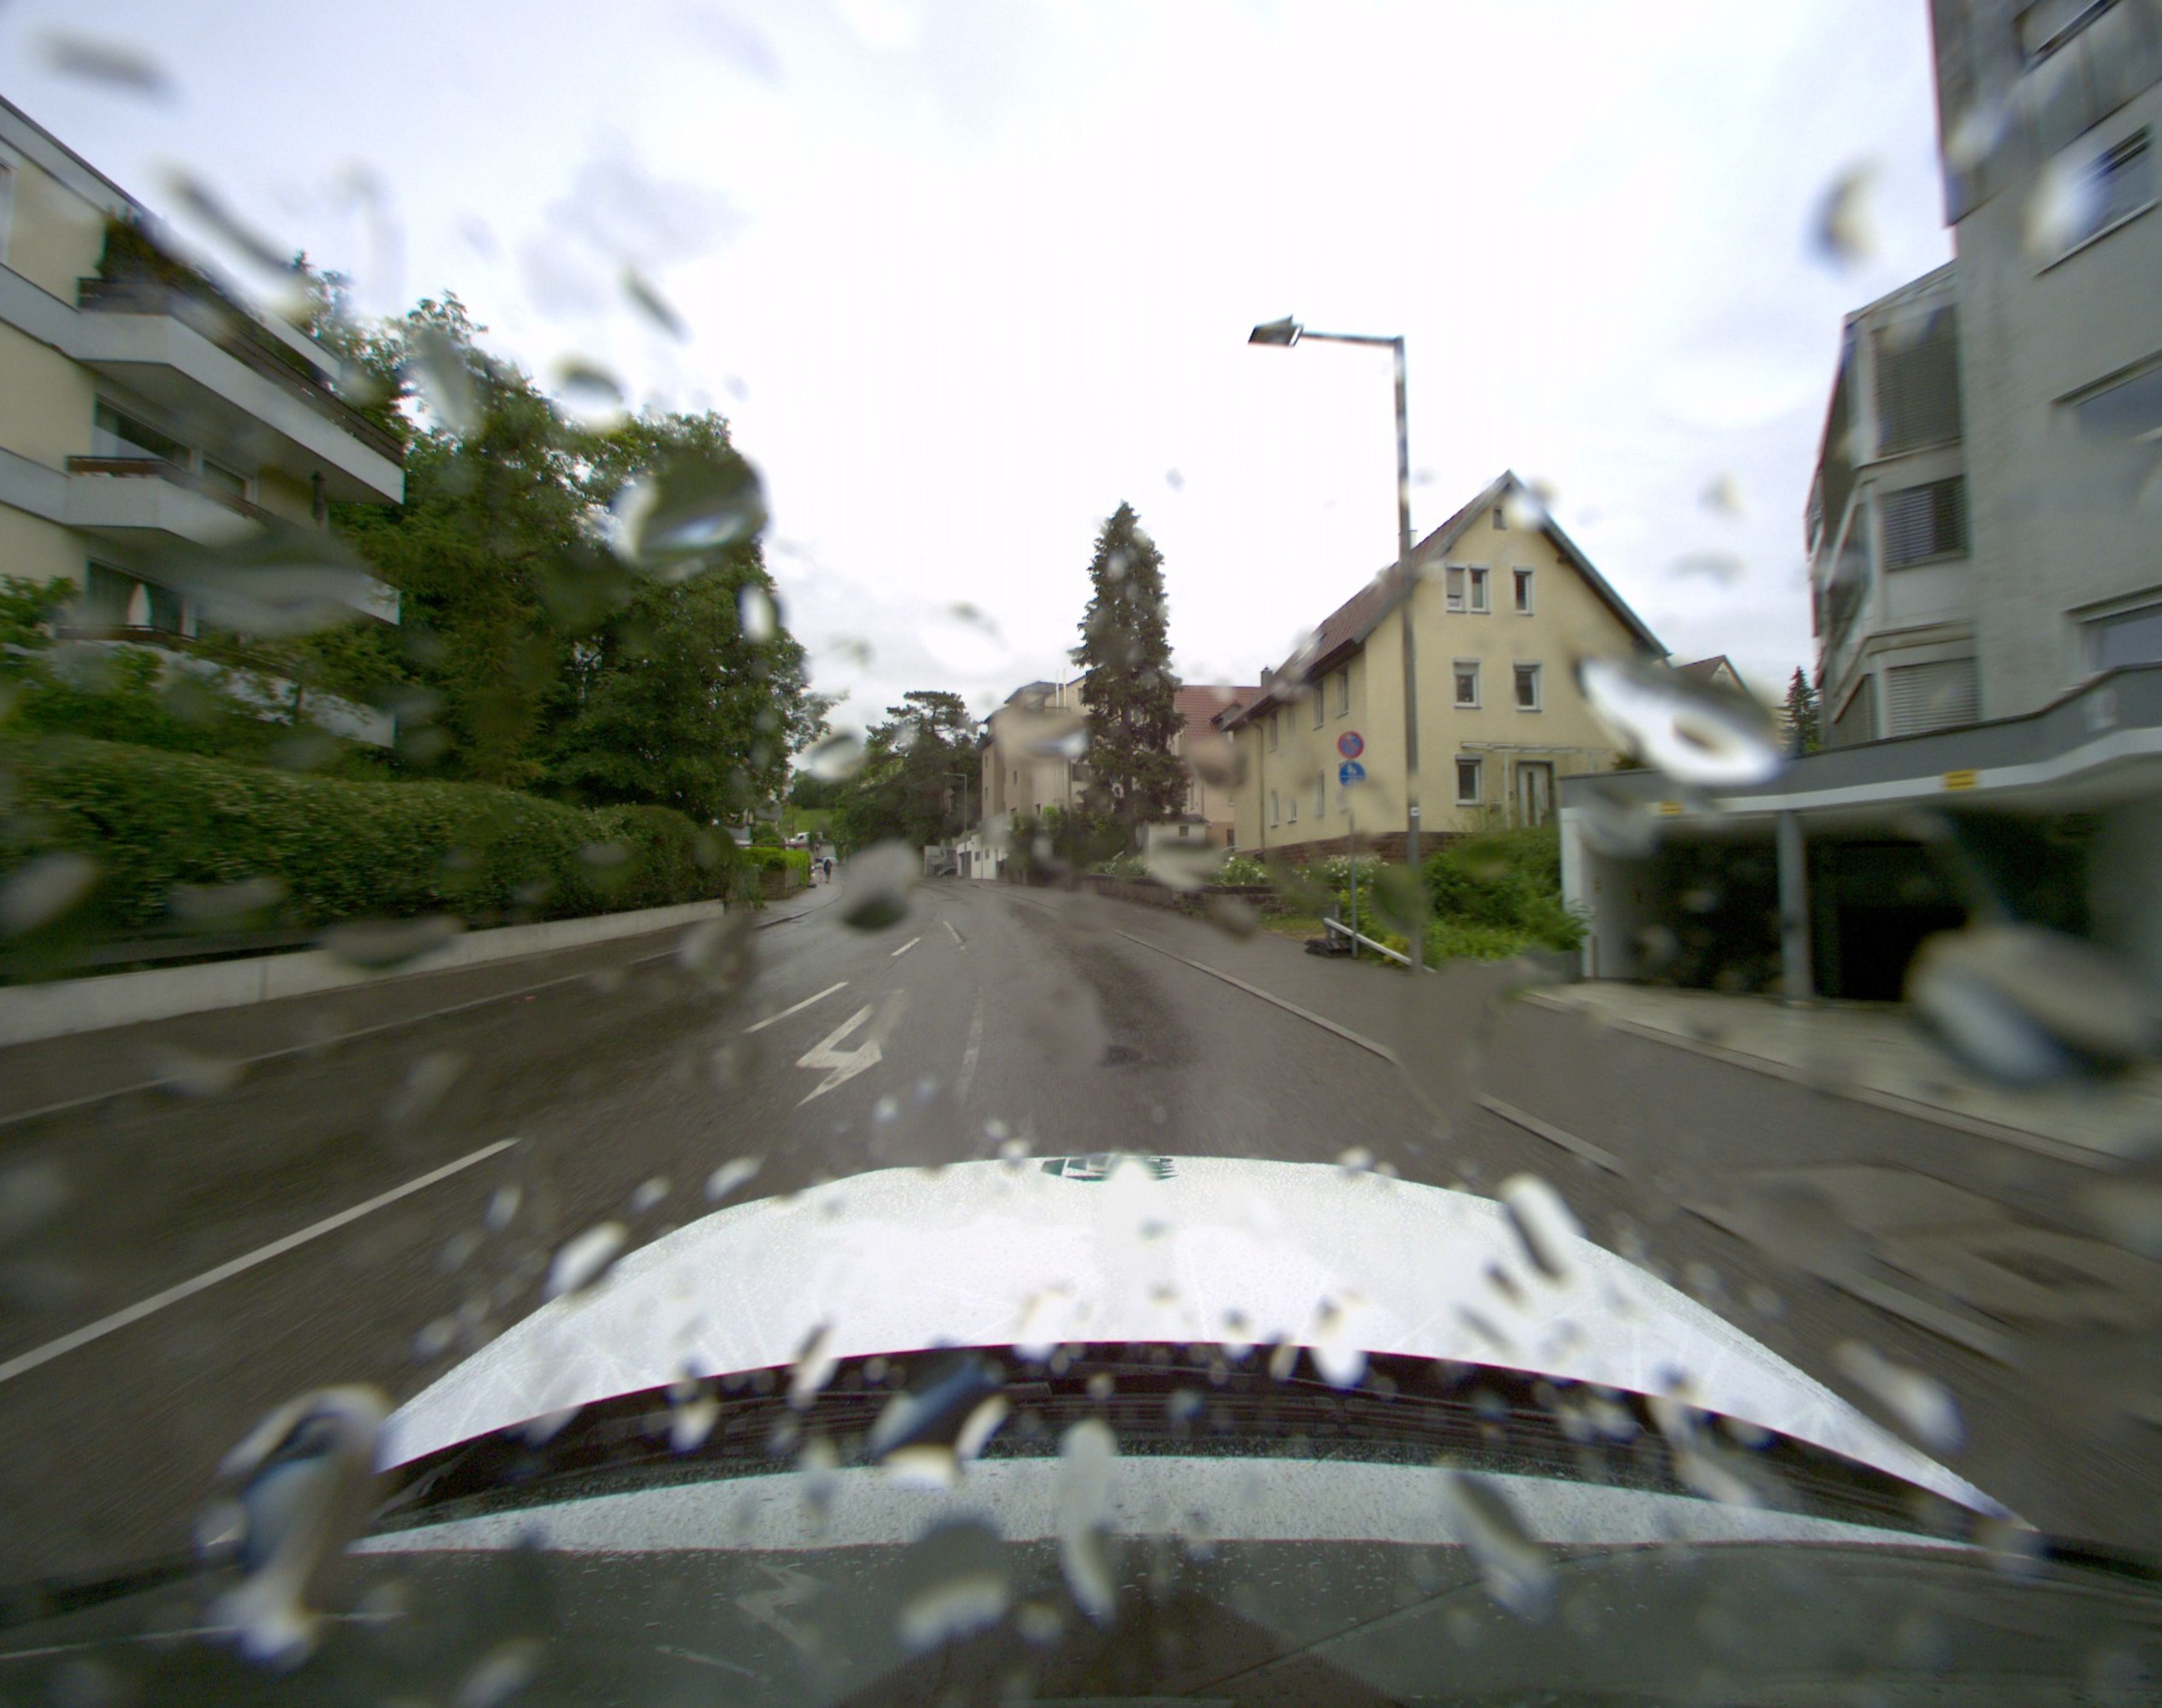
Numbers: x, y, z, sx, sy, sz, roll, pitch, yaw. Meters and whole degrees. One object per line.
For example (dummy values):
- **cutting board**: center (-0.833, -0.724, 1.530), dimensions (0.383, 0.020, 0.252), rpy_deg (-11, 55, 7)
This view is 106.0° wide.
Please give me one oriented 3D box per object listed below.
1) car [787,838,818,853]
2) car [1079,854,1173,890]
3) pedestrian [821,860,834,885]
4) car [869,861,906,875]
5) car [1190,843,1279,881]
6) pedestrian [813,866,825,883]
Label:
- **car**: center (-50.840, -1.563, 148.621), dimensions (4.975, 2.569, 1.886), rpy_deg (-2, 1, -31)
- **car**: center (2.131, 0.857, 39.618), dimensions (4.311, 1.653, 1.959), rpy_deg (-1, -1, -6)
- **pedestrian**: center (-17.748, 1.309, 57.053), dimensions (0.757, 1.644, 1.033), rpy_deg (5, -3, -17)
- **car**: center (-24.059, 1.728, 101.309), dimensions (4.166, 1.476, 1.888), rpy_deg (-2, 1, -27)
- **car**: center (7.581, 0.401, 40.298), dimensions (3.851, 1.653, 1.957), rpy_deg (-3, 0, -9)
- **pedestrian**: center (-18.715, 1.494, 58.189), dimensions (0.758, 1.180, 1.033), rpy_deg (2, -2, -17)
